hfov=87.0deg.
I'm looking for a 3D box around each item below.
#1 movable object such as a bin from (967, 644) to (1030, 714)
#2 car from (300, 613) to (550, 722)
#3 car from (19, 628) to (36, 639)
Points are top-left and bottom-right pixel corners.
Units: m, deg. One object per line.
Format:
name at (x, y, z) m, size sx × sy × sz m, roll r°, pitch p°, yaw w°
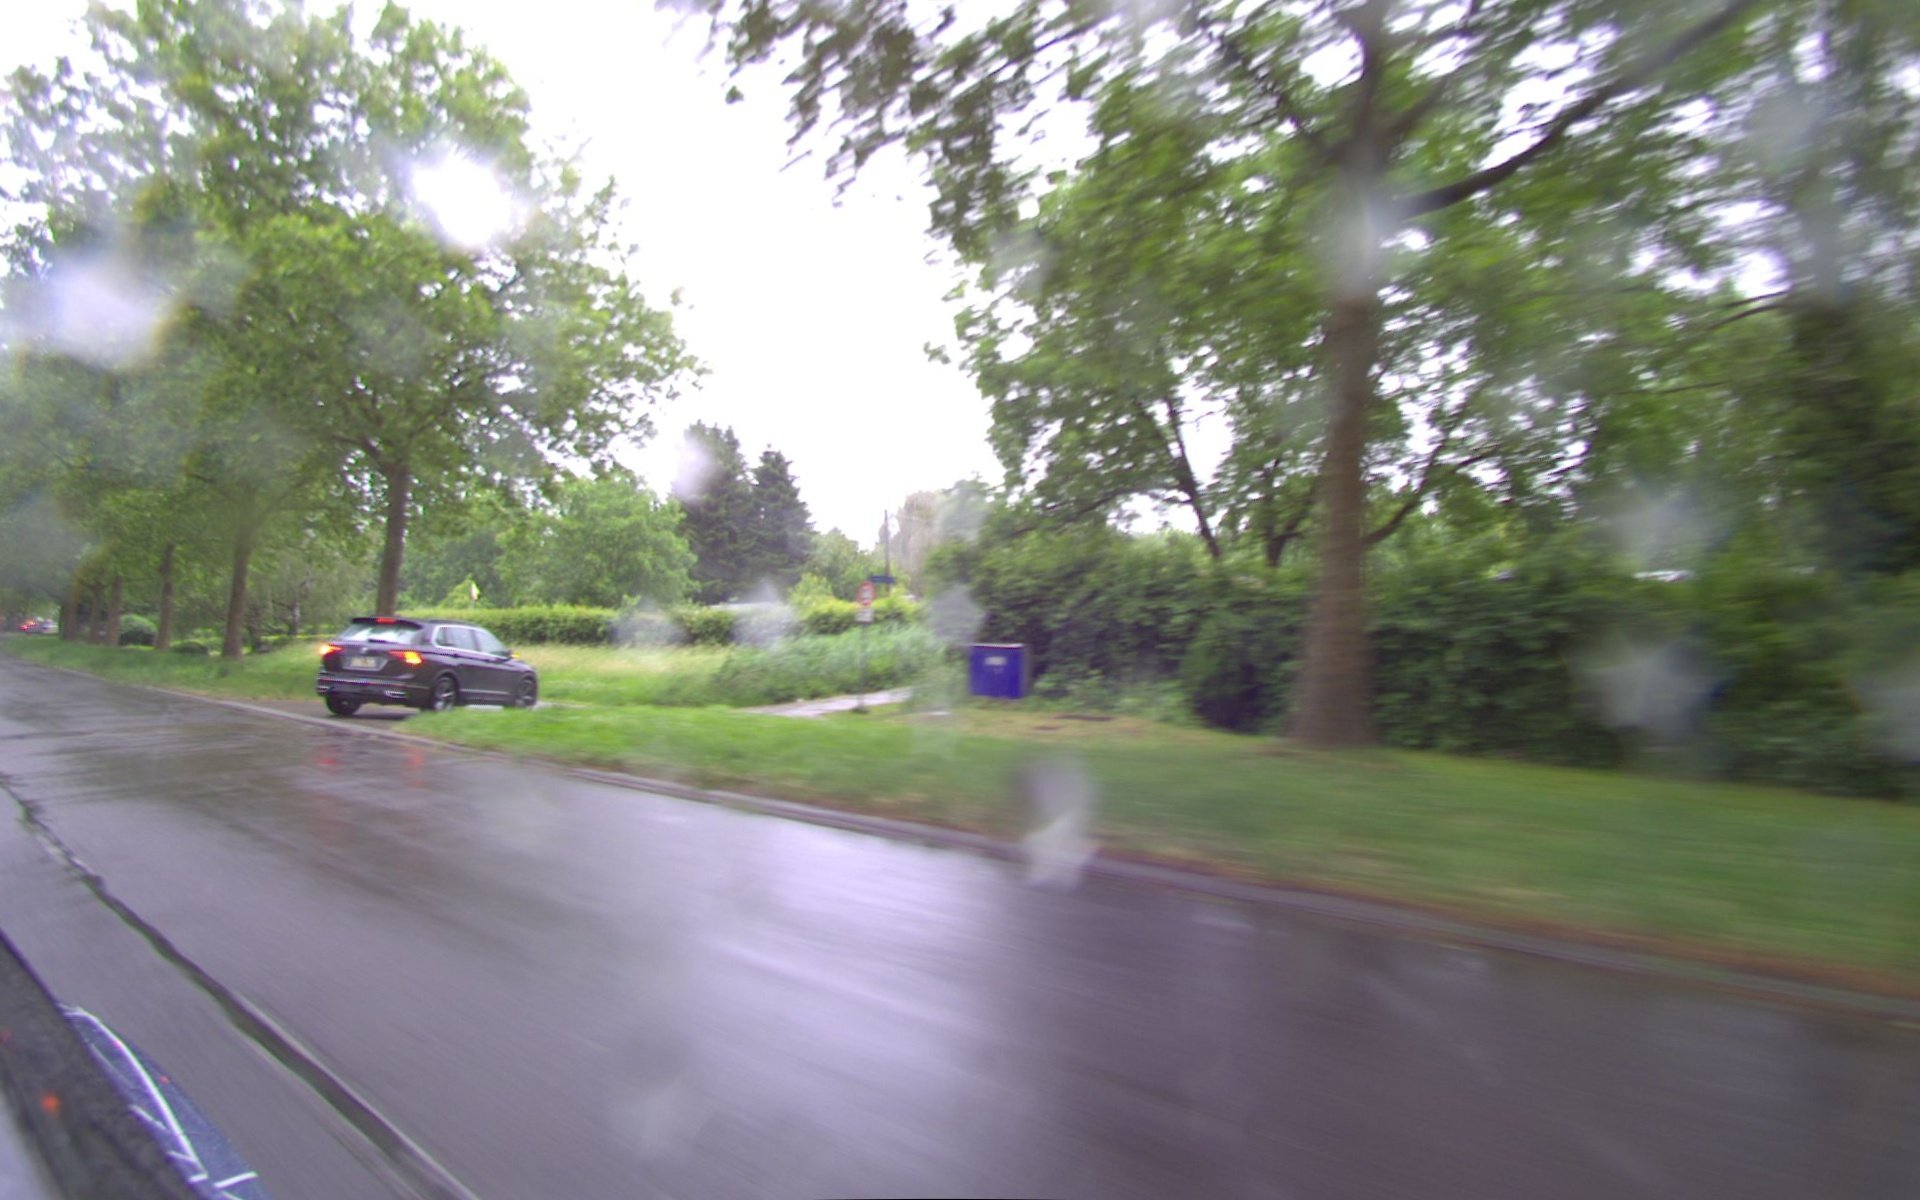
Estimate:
movable object such as a bin at (0.844, 1.715, 22.151) m, size 0.965 × 1.433 × 0.953 m, roll -2°, pitch 0°, yaw 40°
car at (-8.880, 1.209, 17.298) m, size 1.715 × 1.600 × 4.303 m, roll -2°, pitch -5°, yaw 5°
car at (-148.850, 5.361, 161.488) m, size 1.841 × 1.763 × 5.019 m, roll 1°, pitch -2°, yaw -44°
